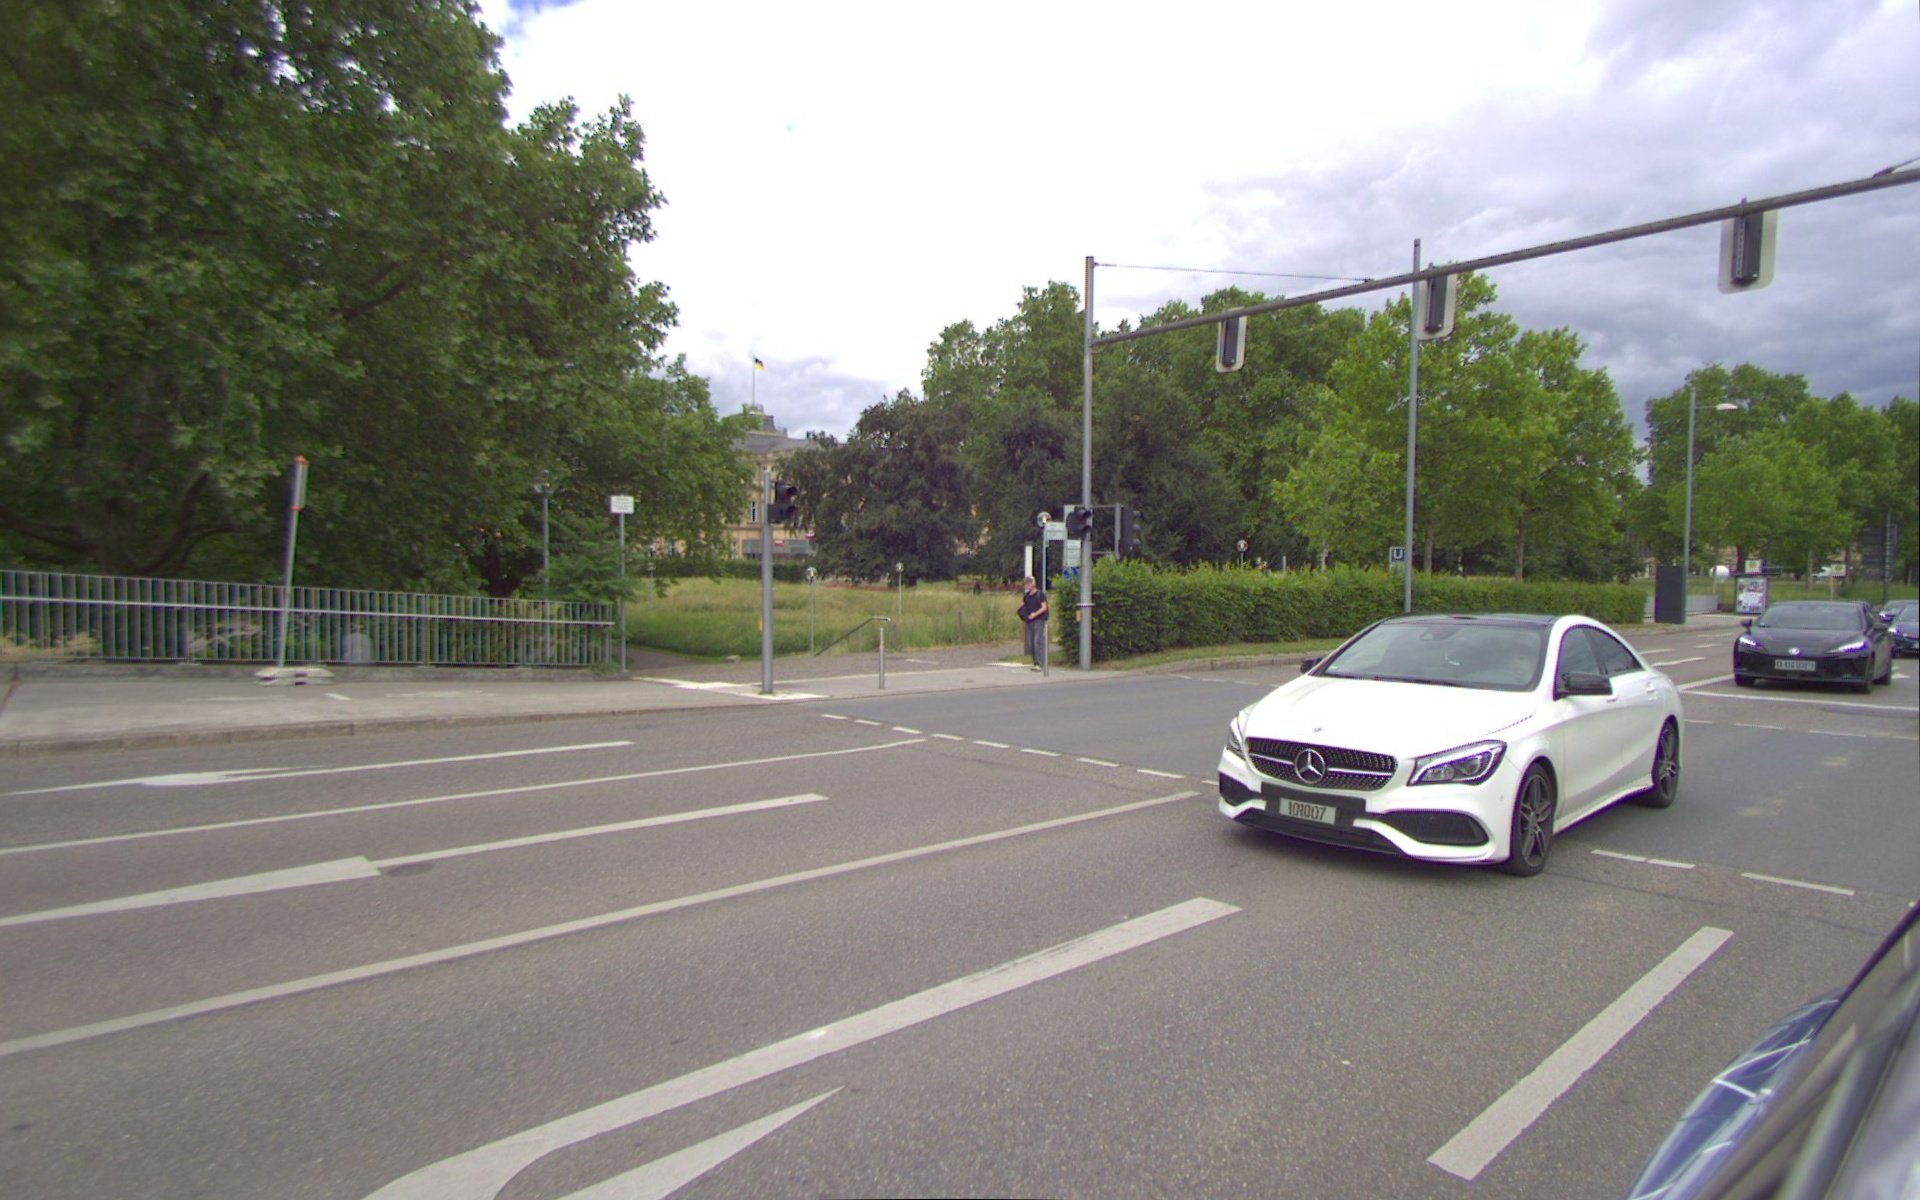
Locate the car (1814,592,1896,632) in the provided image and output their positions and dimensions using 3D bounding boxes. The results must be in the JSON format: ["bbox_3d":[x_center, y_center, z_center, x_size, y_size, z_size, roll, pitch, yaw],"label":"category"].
[{"bbox_3d":[34.382,0.416,38.866,3.930,1.438,1.866,-1,1,-41],"label":"car"}]

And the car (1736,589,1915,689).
[{"bbox_3d":[15.192,0.597,17.691,4.048,1.543,1.828,0,1,-41],"label":"car"}]

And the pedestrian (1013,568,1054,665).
[{"bbox_3d":[1.387,0.303,19.074,0.610,1.786,0.478,0,1,-44],"label":"pedestrian"}]

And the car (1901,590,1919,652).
[{"bbox_3d":[26.121,0.502,26.606,3.931,1.556,1.572,-1,0,-40],"label":"car"}]

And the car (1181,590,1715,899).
[{"bbox_3d":[3.570,0.671,6.962,4.428,1.441,1.722,-1,1,-41],"label":"car"}]

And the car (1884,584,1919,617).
[{"bbox_3d":[46.840,0.020,49.717,3.932,1.556,1.722,-1,1,-41],"label":"car"}]
